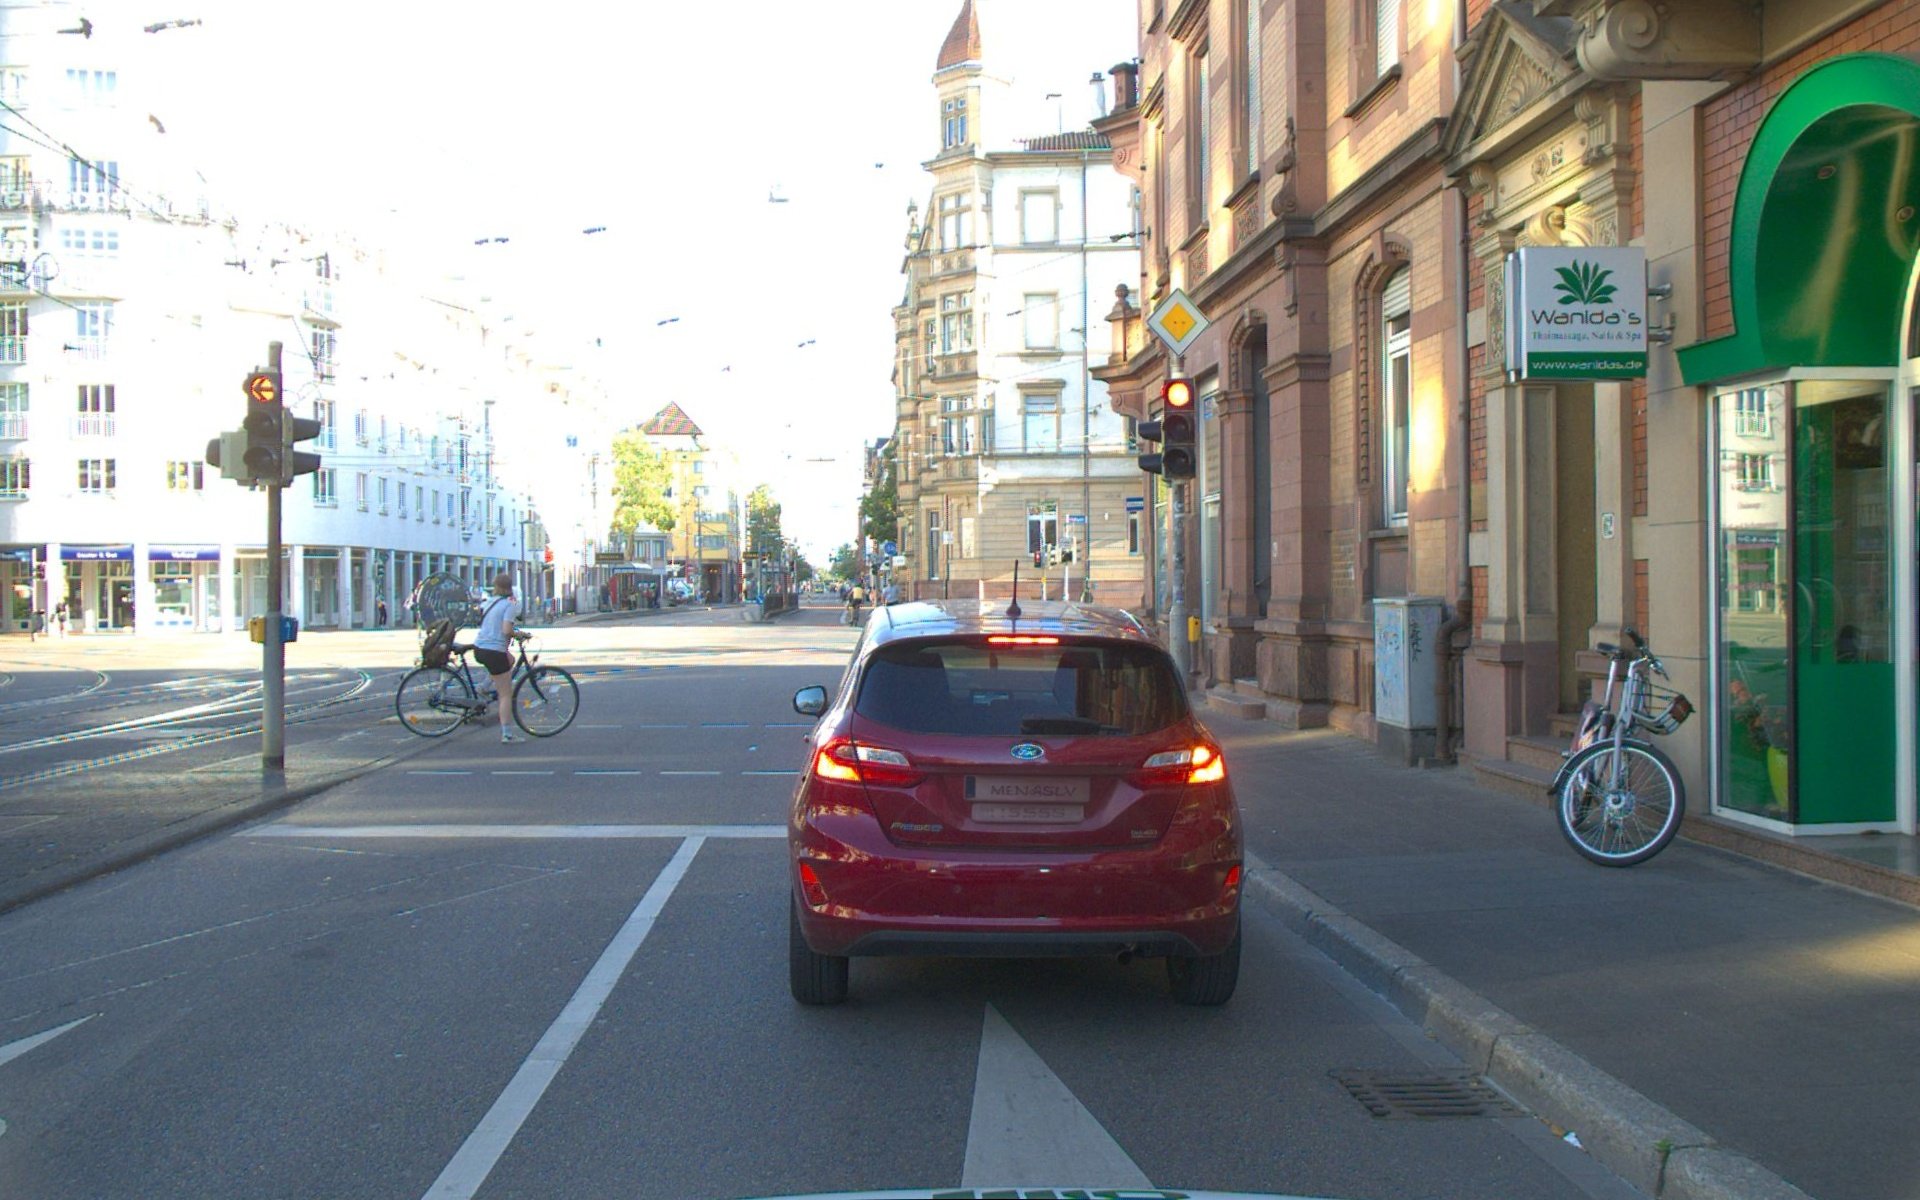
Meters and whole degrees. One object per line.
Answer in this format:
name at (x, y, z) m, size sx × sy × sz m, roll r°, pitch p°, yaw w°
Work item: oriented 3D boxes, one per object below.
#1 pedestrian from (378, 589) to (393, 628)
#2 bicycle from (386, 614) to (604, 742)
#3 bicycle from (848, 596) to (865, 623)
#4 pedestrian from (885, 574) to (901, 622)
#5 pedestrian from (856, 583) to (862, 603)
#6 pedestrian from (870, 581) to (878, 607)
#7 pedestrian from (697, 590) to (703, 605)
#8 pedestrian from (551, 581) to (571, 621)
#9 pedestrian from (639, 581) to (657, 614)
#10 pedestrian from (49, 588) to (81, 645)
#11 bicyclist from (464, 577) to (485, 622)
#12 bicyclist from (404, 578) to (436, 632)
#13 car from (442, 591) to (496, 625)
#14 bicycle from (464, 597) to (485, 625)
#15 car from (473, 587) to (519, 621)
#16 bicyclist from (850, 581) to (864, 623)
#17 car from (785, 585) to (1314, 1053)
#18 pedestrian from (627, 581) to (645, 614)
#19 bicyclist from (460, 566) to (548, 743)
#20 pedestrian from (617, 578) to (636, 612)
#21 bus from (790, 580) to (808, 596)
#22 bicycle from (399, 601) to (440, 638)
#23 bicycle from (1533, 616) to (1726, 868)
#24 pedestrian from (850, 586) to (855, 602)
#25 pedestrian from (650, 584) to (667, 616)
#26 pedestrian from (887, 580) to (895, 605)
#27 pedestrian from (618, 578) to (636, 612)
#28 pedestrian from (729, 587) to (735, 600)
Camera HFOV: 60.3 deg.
pedestrian at (-25.594, 0.368, 73.676) m, size 0.514 × 1.711 × 0.484 m, roll -1°, pitch 0°, yaw -11°
bicycle at (-4.551, 0.746, 16.202) m, size 1.991 × 1.198 × 0.624 m, roll 1°, pitch 0°, yaw -23°
bicycle at (-4.216, 0.384, 67.401) m, size 0.516 × 1.108 × 1.483 m, roll -1°, pitch 0°, yaw -10°
pedestrian at (-2.866, -0.092, 70.805) m, size 0.638 × 2.049 × 0.759 m, roll -1°, pitch 0°, yaw -5°
pedestrian at (-10.568, -0.717, 173.430) m, size 0.565 × 2.049 × 0.630 m, roll -1°, pitch 0°, yaw -3°
pedestrian at (-6.790, -0.451, 130.300) m, size 0.565 × 2.049 × 0.631 m, roll -1°, pitch 0°, yaw 2°
pedestrian at (-26.241, -0.265, 167.197) m, size 0.513 × 1.514 × 0.582 m, roll -1°, pitch 0°, yaw -2°
pedestrian at (-17.801, 0.032, 73.826) m, size 0.753 × 1.761 × 0.572 m, roll -1°, pitch 0°, yaw -2°
pedestrian at (-19.600, -0.155, 103.988) m, size 1.025 × 2.049 × 0.958 m, roll -1°, pitch 0°, yaw -6°
pedestrian at (-32.335, 0.590, 59.761) m, size 0.934 × 2.049 × 0.930 m, roll -1°, pitch 0°, yaw -32°
bicyclist at (-20.398, -0.032, 69.489) m, size 0.795 × 1.853 × 0.988 m, roll -1°, pitch 0°, yaw -19°
bicyclist at (-17.692, 0.162, 54.193) m, size 0.792 × 1.756 × 0.793 m, roll -1°, pitch 0°, yaw -5°
car at (-23.938, 0.368, 80.707) m, size 1.730 × 1.573 × 3.459 m, roll -1°, pitch 0°, yaw -3°
bicycle at (-20.443, 0.446, 69.633) m, size 0.795 × 1.167 × 1.999 m, roll -1°, pitch 0°, yaw -18°
car at (-24.697, 0.179, 88.190) m, size 1.668 × 1.748 × 3.561 m, roll -1°, pitch 0°, yaw -4°
bicyclist at (-4.195, 0.077, 67.227) m, size 0.490 × 1.705 × 0.544 m, roll -1°, pitch 0°, yaw -10°
car at (0.117, 0.699, 7.330) m, size 1.720 × 1.492 × 3.940 m, roll 1°, pitch 0°, yaw -6°
pedestrian at (-20.711, -0.166, 105.862) m, size 1.025 × 2.049 × 0.958 m, roll -1°, pitch 0°, yaw -6°
bicyclist at (-4.418, 0.512, 15.995) m, size 0.719 × 1.655 × 0.760 m, roll 1°, pitch 0°, yaw -23°
pedestrian at (-20.926, -0.316, 103.766) m, size 1.025 × 2.049 × 0.958 m, roll -1°, pitch 0°, yaw -6°
bus at (-21.235, -1.583, 218.116) m, size 1.887 × 2.049 × 7.134 m, roll -1°, pitch 0°, yaw -2°
bicycle at (-17.678, 0.636, 54.139) m, size 0.792 × 1.167 × 2.048 m, roll -1°, pitch 0°, yaw -4°
bicycle at (3.541, 0.708, 8.876) m, size 0.700 × 1.172 × 1.656 m, roll -2°, pitch 0°, yaw 14°
pedestrian at (-13.219, -0.736, 204.130) m, size 0.566 × 1.920 × 0.669 m, roll -1°, pitch 0°, yaw -4°
pedestrian at (-19.415, 0.011, 106.513) m, size 1.025 × 2.049 × 0.958 m, roll -1°, pitch 0°, yaw -6°
pedestrian at (-5.659, -0.611, 135.857) m, size 0.565 × 2.049 × 0.631 m, roll -1°, pitch 0°, yaw 2°
pedestrian at (-20.454, -0.317, 101.671) m, size 0.937 × 2.049 × 1.048 m, roll -1°, pitch 0°, yaw -4°
pedestrian at (-27.215, -0.763, 197.475) m, size 0.619 × 1.632 × 0.575 m, roll -1°, pitch 0°, yaw -21°
